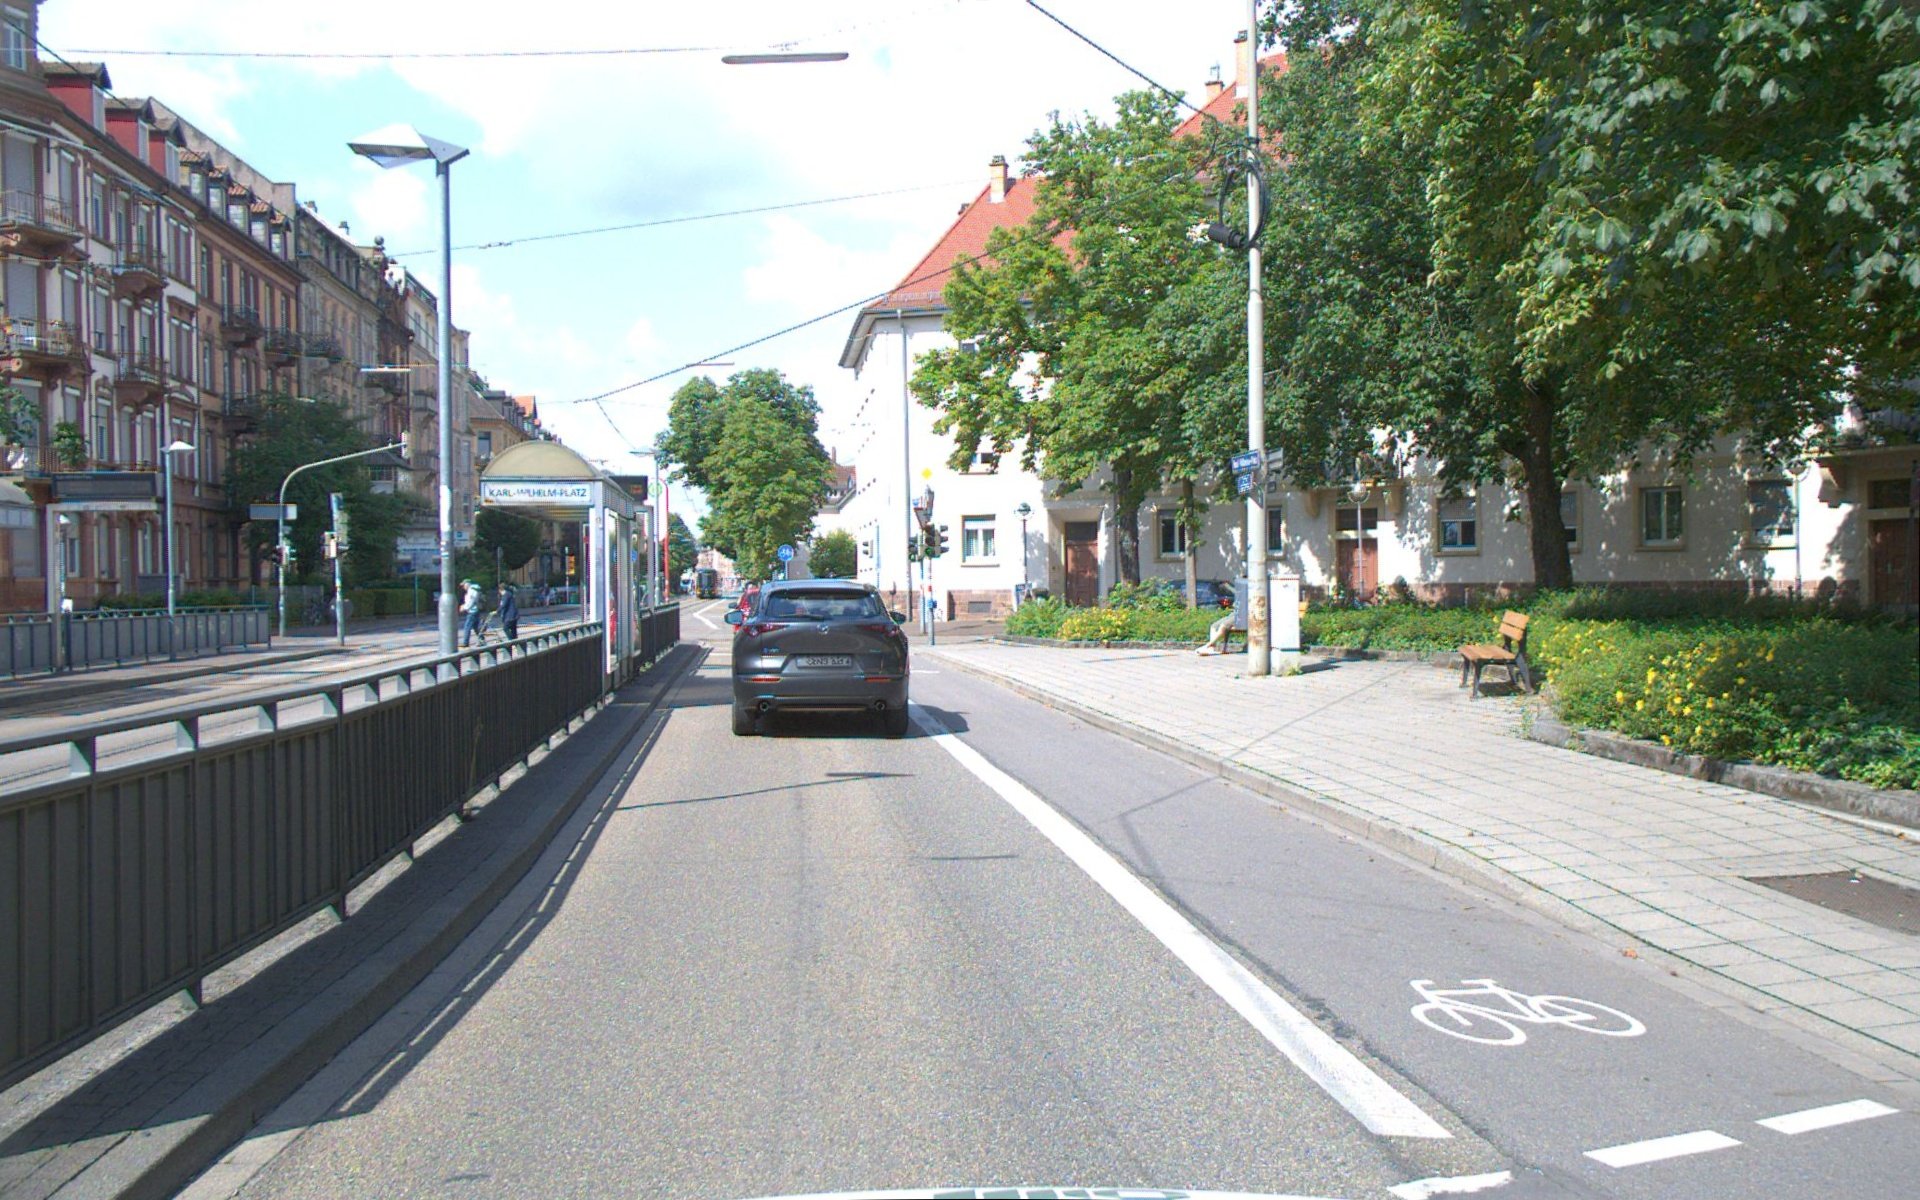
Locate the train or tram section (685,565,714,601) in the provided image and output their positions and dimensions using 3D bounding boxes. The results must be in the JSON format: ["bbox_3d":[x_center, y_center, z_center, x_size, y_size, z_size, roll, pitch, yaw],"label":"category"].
[{"bbox_3d":[-31.500,-2.027,200.199,2.941,4.053,13.785,-1,0,-7],"label":"train or tram section"}]

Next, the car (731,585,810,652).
[{"bbox_3d":[-4.474,0.396,38.842,1.741,1.489,3.836,1,0,-7],"label":"car"}]

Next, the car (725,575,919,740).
[{"bbox_3d":[-1.578,0.541,17.680,1.749,1.540,3.991,1,0,-9],"label":"car"}]

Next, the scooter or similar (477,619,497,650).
[{"bbox_3d":[-11.472,0.827,40.129,0.406,0.733,0.485,-1,0,-8],"label":"scooter or similar"}]

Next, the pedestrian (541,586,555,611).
[{"bbox_3d":[-28.969,-0.128,116.294,0.772,1.718,0.731,-1,0,-6],"label":"pedestrian"}]

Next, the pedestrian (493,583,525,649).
[{"bbox_3d":[-10.945,0.384,40.187,0.655,1.573,0.580,-1,0,-8],"label":"pedestrian"}]

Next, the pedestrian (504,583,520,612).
[{"bbox_3d":[-26.776,-0.136,98.797,0.772,1.718,0.731,-1,0,-6],"label":"pedestrian"}]

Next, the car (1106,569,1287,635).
[{"bbox_3d":[5.917,0.052,41.547,4.087,1.536,1.846,0,2,35],"label":"car"}]

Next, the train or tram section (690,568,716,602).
[{"bbox_3d":[-33.124,-1.852,213.768,2.941,4.053,13.785,-1,0,-7],"label":"train or tram section"}]

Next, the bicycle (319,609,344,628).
[{"bbox_3d":[-24.603,0.718,64.783,0.377,0.688,1.710,-1,1,-3],"label":"bicycle"}]

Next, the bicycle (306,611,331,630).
[{"bbox_3d":[-24.276,0.778,62.603,0.377,0.664,1.710,-1,1,-3],"label":"bicycle"}]

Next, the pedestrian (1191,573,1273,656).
[{"bbox_3d":[4.519,0.237,27.476,1.171,1.291,0.556,-3,1,-12],"label":"pedestrian"}]

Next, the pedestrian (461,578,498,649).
[{"bbox_3d":[-11.825,0.322,40.711,0.756,1.704,0.666,-1,0,-8],"label":"pedestrian"}]

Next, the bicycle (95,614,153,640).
[{"bbox_3d":[-26.401,0.836,52.265,0.378,0.760,1.708,-1,1,28],"label":"bicycle"}]

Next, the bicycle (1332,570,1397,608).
[{"bbox_3d":[11.372,-0.306,46.482,0.563,1.037,1.725,-4,2,-44],"label":"bicycle"}]

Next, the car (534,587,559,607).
[{"bbox_3d":[-35.573,-0.289,142.485,1.626,1.624,3.923,-1,1,-8],"label":"car"}]
